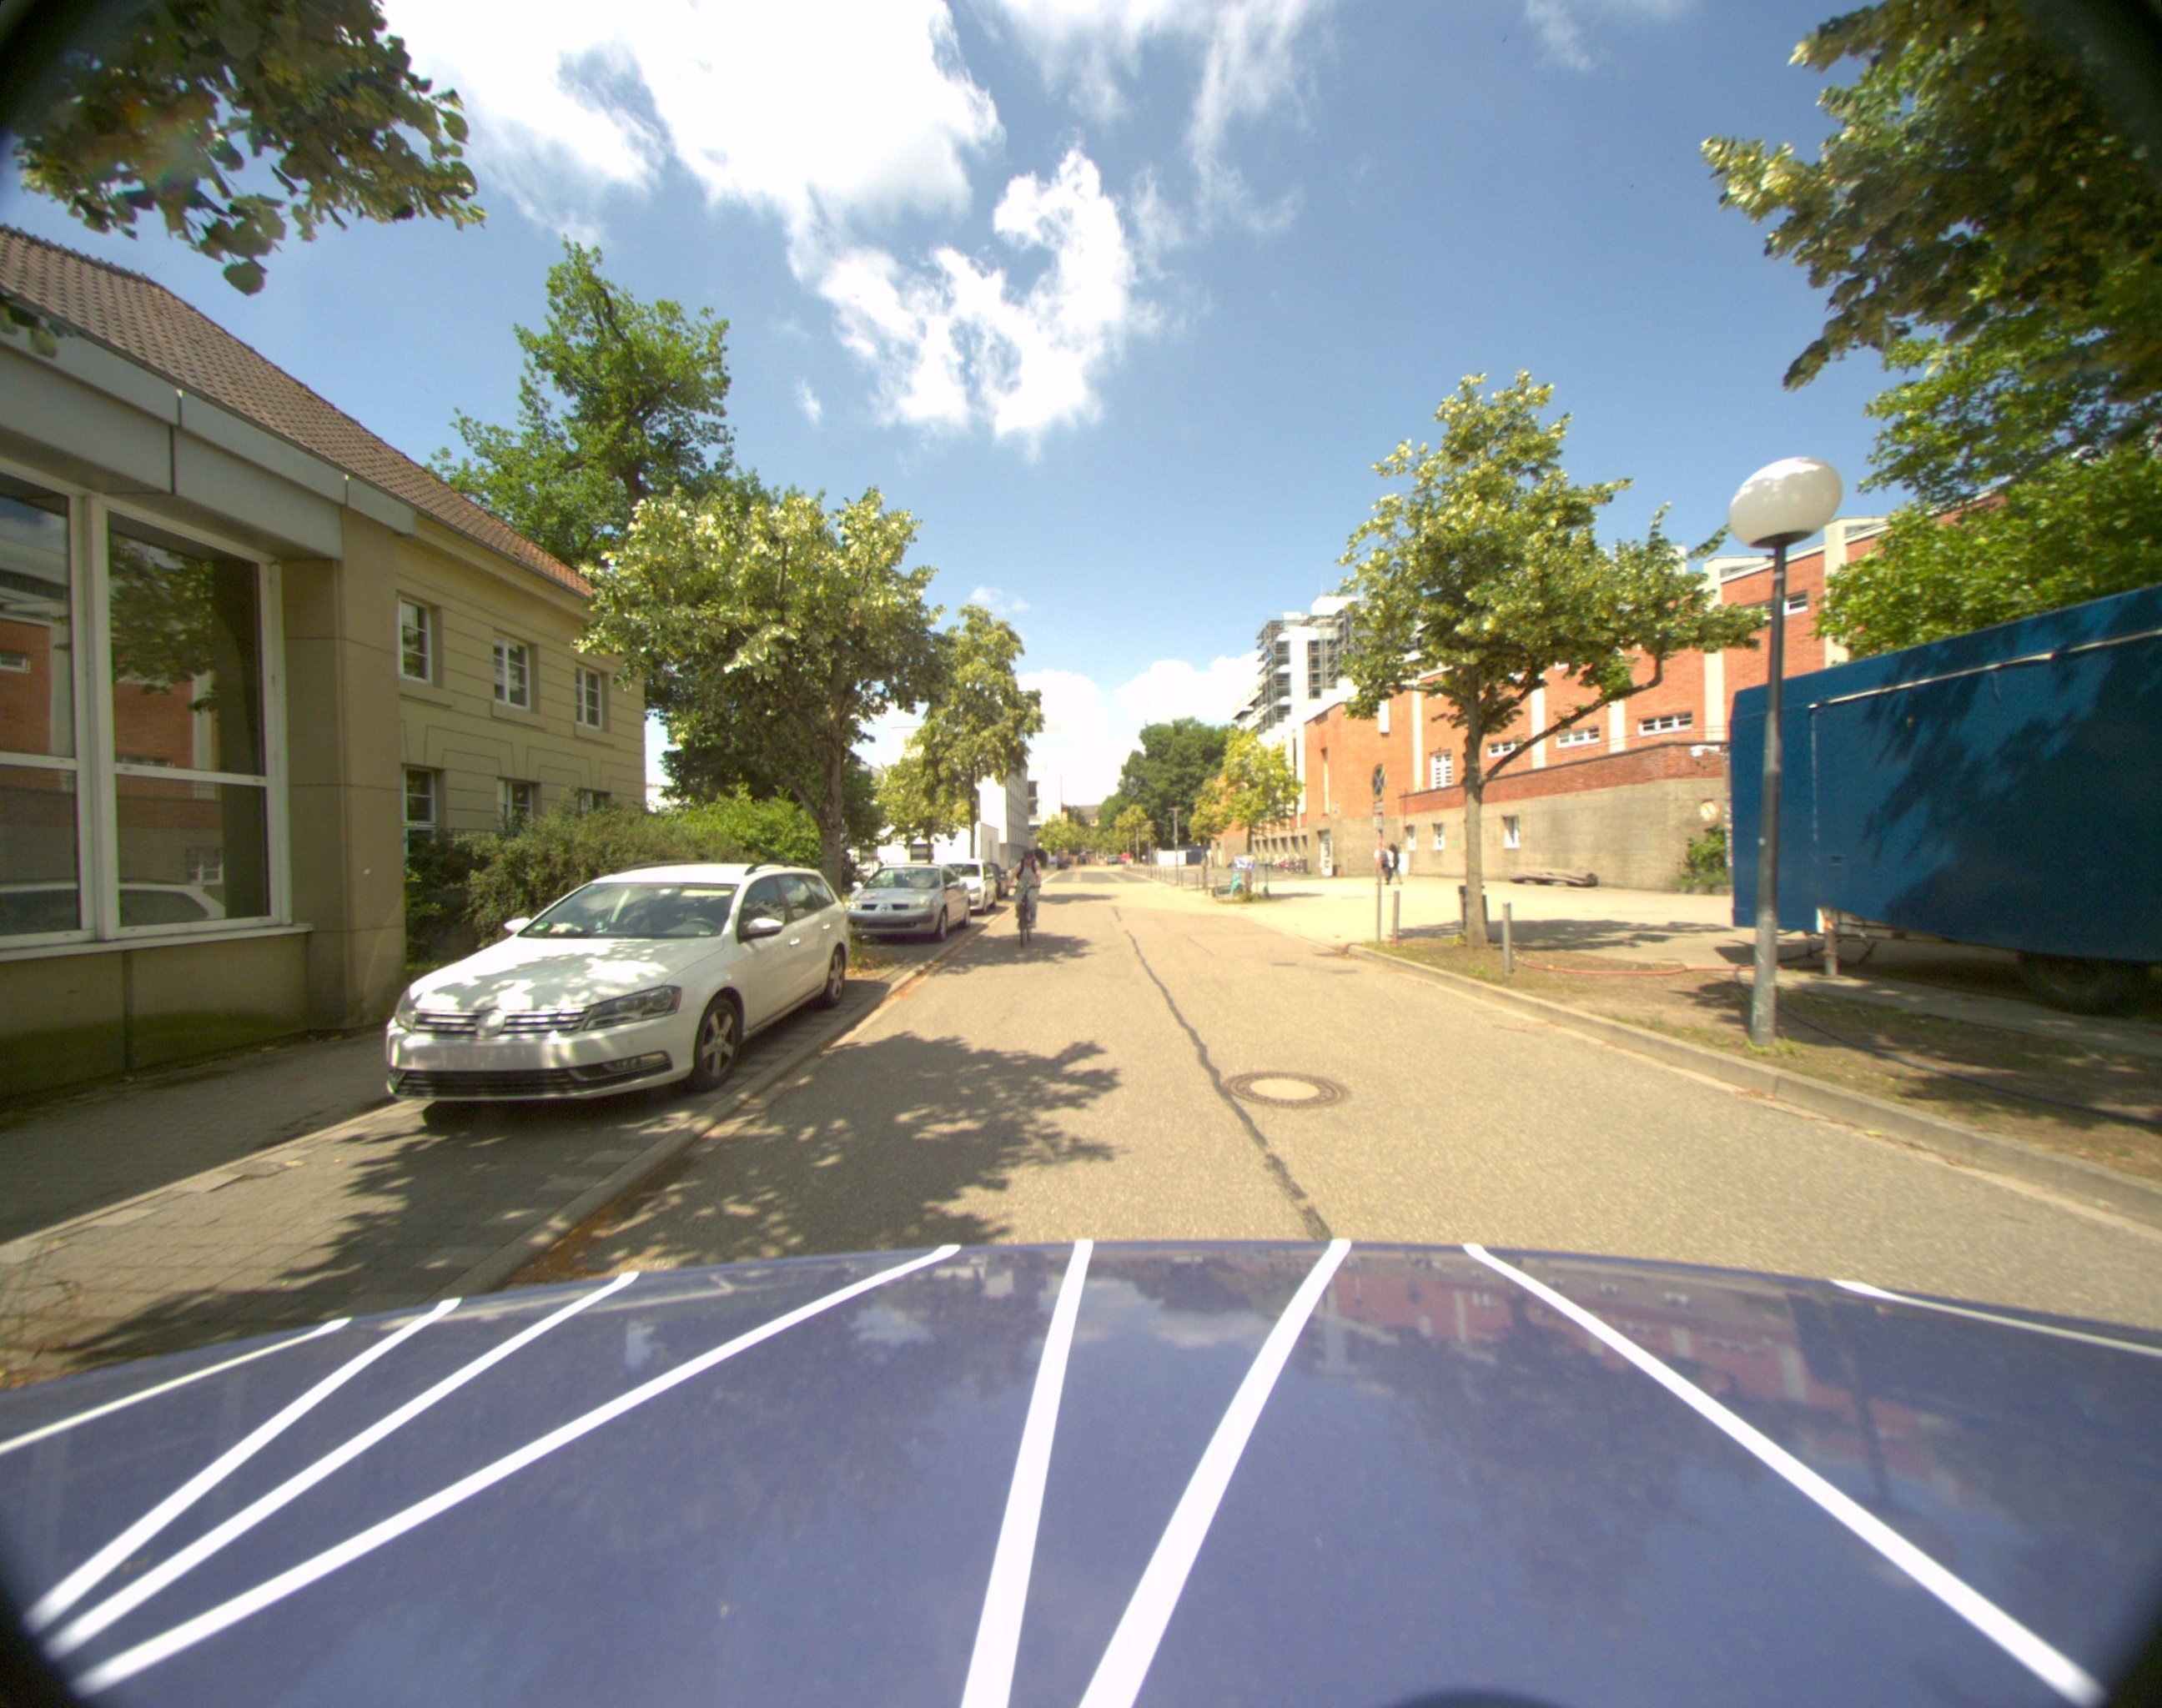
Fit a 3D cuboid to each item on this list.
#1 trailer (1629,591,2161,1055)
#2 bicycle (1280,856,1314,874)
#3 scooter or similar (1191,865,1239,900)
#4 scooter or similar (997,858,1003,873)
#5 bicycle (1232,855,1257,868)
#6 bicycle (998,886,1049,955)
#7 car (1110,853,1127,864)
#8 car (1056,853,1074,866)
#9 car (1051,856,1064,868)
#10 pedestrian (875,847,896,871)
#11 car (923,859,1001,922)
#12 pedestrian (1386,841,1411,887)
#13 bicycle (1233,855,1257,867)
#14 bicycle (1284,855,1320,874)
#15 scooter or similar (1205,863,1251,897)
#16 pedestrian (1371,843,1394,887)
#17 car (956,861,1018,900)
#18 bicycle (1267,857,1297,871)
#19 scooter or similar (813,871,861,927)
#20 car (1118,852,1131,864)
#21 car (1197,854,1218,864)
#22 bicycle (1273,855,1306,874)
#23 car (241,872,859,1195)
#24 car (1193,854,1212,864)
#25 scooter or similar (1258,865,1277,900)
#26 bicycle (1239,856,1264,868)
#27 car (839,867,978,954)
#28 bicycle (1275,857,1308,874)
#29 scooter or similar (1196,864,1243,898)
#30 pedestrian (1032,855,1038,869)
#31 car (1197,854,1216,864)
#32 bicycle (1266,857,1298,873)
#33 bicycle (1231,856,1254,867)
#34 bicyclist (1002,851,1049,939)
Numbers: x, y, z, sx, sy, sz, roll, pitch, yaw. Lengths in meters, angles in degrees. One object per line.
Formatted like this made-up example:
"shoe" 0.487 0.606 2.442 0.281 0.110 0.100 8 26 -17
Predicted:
"trailer" 8.364 -0.248 6.543 2.703 3.009 6.266 -2 0 0
"bicycle" 13.833 0.718 48.699 2.026 1.119 0.592 -1 1 1
"scooter or similar" 4.772 1.020 27.160 1.571 1.218 0.525 -1 1 27
"scooter or similar" -6.712 0.915 62.871 0.327 1.228 1.073 -1 0 3
"bicycle" 14.008 0.621 65.094 1.955 1.024 0.530 -1 1 -1
"bicycle" -1.013 1.162 13.820 0.675 1.066 2.136 -1 0 2
"car" 7.336 0.842 149.688 2.023 2.079 4.439 -2 0 21
"car" -2.144 0.785 102.547 1.939 1.671 3.470 -1 0 5
"car" -2.869 0.960 94.254 1.552 1.377 3.453 -1 0 -1
"pedestrian" -15.022 0.394 58.279 1.168 1.789 1.023 1 0 29
"car" -3.144 0.909 20.710 1.591 1.458 3.987 -1 1 -2
"pedestrian" 12.639 0.393 30.288 0.577 1.769 0.917 -2 1 0
"bicycle" 14.616 0.620 67.657 1.955 1.024 0.518 -1 1 -1
"bicycle" 13.618 0.661 46.795 2.027 1.119 0.667 -1 1 -1
"scooter or similar" 5.551 0.978 28.710 1.571 1.218 0.571 -1 1 27
"pedestrian" 12.064 0.428 30.391 0.564 1.752 0.805 -1 1 0
"car" -3.436 0.946 28.522 1.712 1.273 4.000 -1 0 1
"bicycle" 14.436 0.733 54.619 1.955 0.954 0.684 -1 0 -1
"scooter or similar" -5.578 1.003 17.444 0.521 1.214 1.237 0 0 10
"car" 7.086 0.657 123.424 1.912 1.870 4.002 -2 0 7
"car" 15.037 0.582 90.072 2.368 1.173 0.794 -1 0 2
"bicycle" 13.572 0.672 49.496 2.026 1.119 0.439 -3 0 4
"car" -3.279 0.934 6.067 1.730 1.458 4.671 0 0 -2
"car" 15.048 0.606 94.185 2.324 1.173 0.479 -1 1 2
"scooter or similar" 6.448 0.971 26.275 0.564 1.142 1.351 -1 1 12
"bicycle" 14.309 0.647 63.708 1.955 0.935 0.569 -1 1 -1
"car" -3.121 0.965 14.528 1.650 1.382 3.989 -1 -1 1
"bicycle" 14.156 0.791 51.072 2.015 1.076 0.621 -1 1 -1
"scooter or similar" 5.064 0.979 27.814 1.571 1.218 0.566 -1 1 27
"pedestrian" -4.843 0.837 80.718 0.525 1.430 0.701 -1 1 3
"car" 15.151 0.592 91.730 2.288 1.173 0.524 -1 1 2
"bicycle" 13.938 0.758 52.811 2.027 1.055 0.663 -1 1 -1
"bicycle" 14.507 0.675 68.434 1.955 1.024 0.542 -1 1 -1
"bicyclist" -0.968 0.707 13.518 0.675 1.470 1.062 -1 2 2
